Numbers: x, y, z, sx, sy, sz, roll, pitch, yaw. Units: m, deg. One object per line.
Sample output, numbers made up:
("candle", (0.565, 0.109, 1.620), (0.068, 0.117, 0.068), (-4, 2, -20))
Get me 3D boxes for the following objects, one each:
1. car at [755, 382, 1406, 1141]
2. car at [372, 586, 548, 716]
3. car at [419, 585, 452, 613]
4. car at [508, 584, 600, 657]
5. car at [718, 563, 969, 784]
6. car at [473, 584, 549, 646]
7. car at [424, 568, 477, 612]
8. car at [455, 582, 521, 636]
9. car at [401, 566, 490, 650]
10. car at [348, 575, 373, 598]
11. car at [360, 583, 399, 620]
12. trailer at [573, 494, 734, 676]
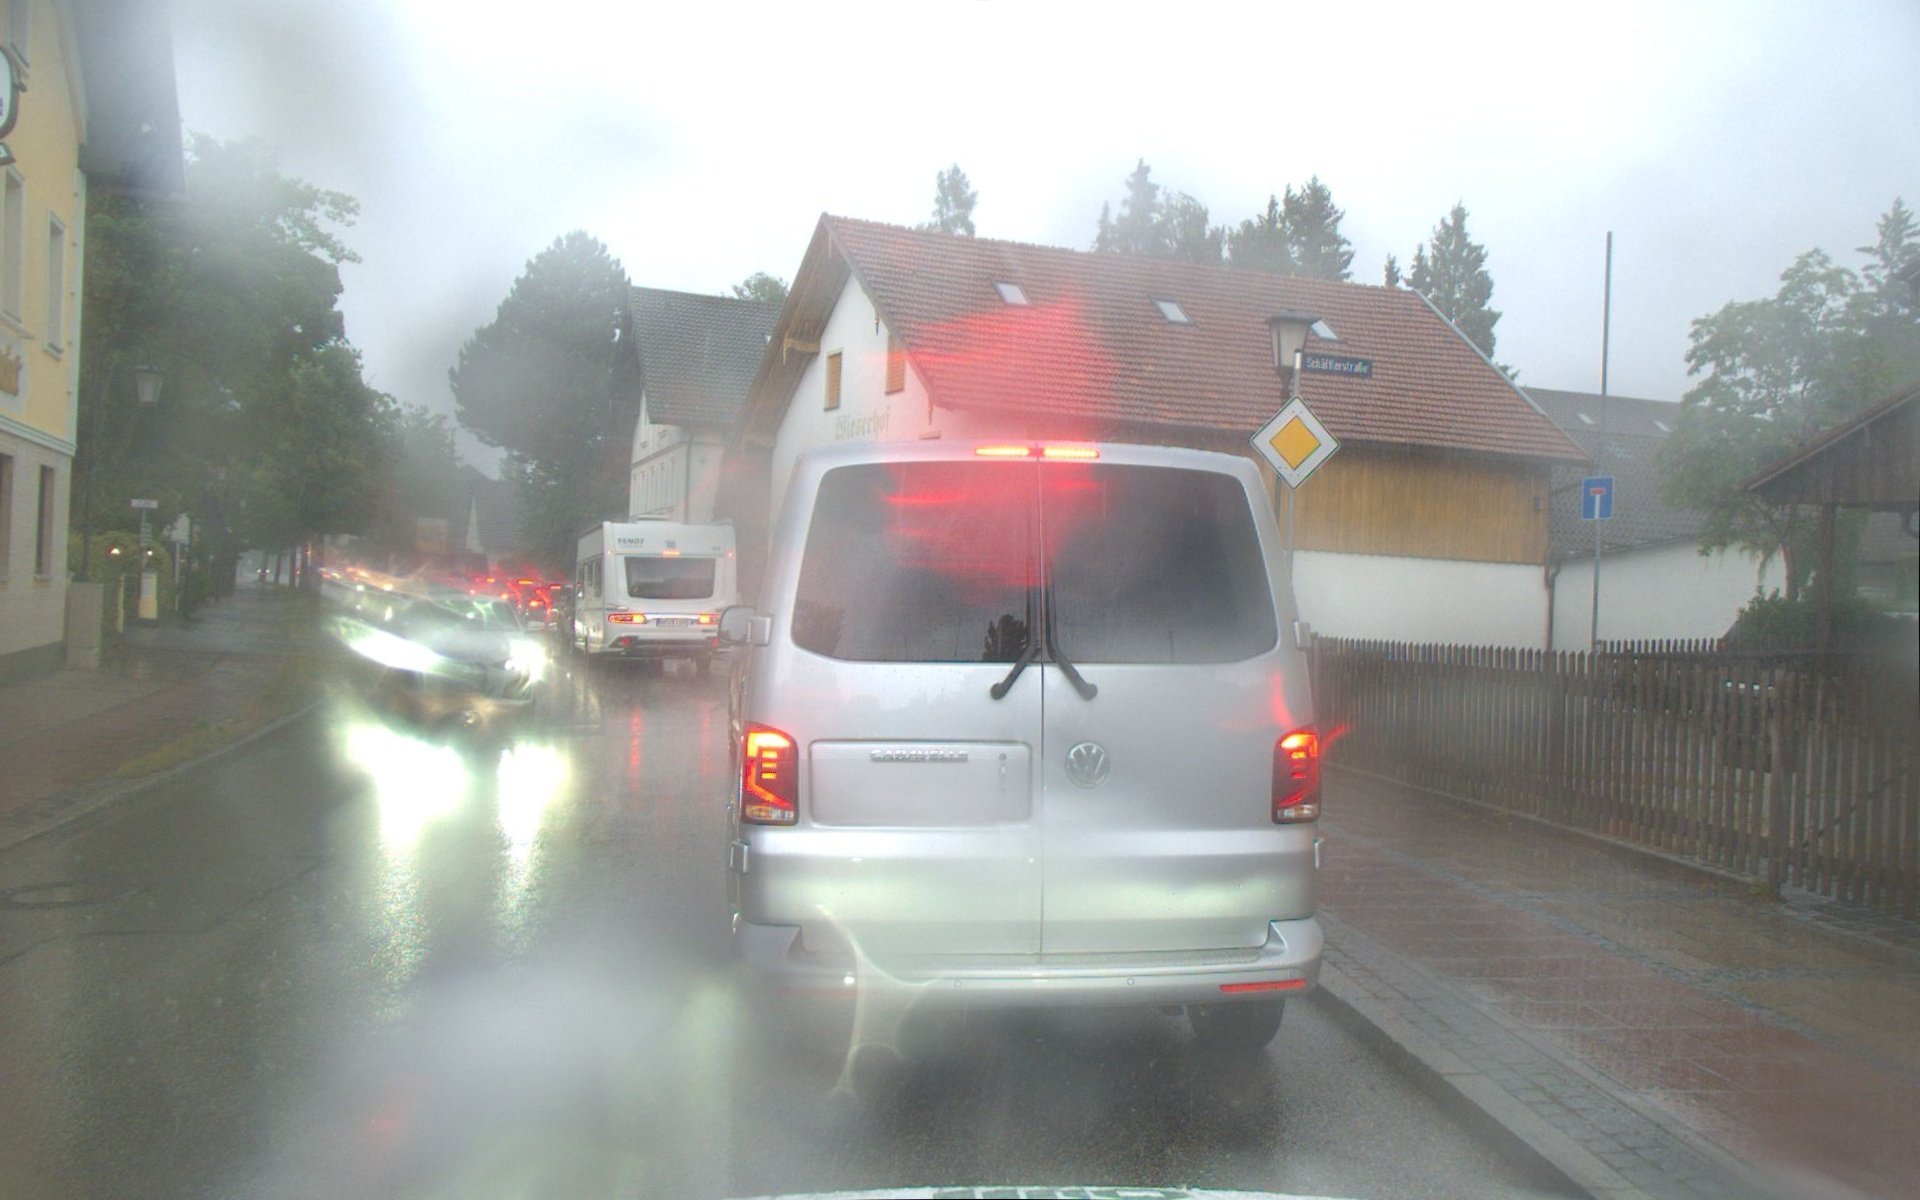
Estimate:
("car", (0.165, 0.433, 6.954), (1.741, 1.997, 5.070), (1, 0, -4))
("car", (-6.336, 0.540, 20.658), (1.835, 1.382, 4.456), (0, 1, -20))
("car", (-40.019, -0.061, 126.164), (2.137, 1.932, 4.985), (3, 1, -20))
("car", (-12.370, 0.580, 50.159), (2.137, 1.932, 4.985), (3, 1, -20))
("car", (-1.188, 0.500, 14.588), (1.678, 1.611, 4.673), (-1, 1, -11))
("car", (-15.840, 0.484, 58.168), (2.137, 1.932, 4.985), (3, 1, -20))
("car", (-24.507, -0.489, 79.512), (2.137, 1.932, 4.985), (3, 1, -20))
("car", (-18.871, 0.324, 66.038), (2.137, 1.932, 4.985), (3, 1, -20))
("car", (-12.017, 0.152, 38.540), (1.834, 1.788, 4.459), (-2, 1, -18))
("car", (-50.492, -1.143, 139.364), (1.834, 1.788, 4.458), (-2, 1, -19))
("car", (-30.391, 0.053, 86.651), (1.834, 1.788, 4.458), (-2, 1, -19))
("trailer", (-5.723, -0.247, 30.204), (2.234, 2.955, 6.104), (1, 0, -16))
